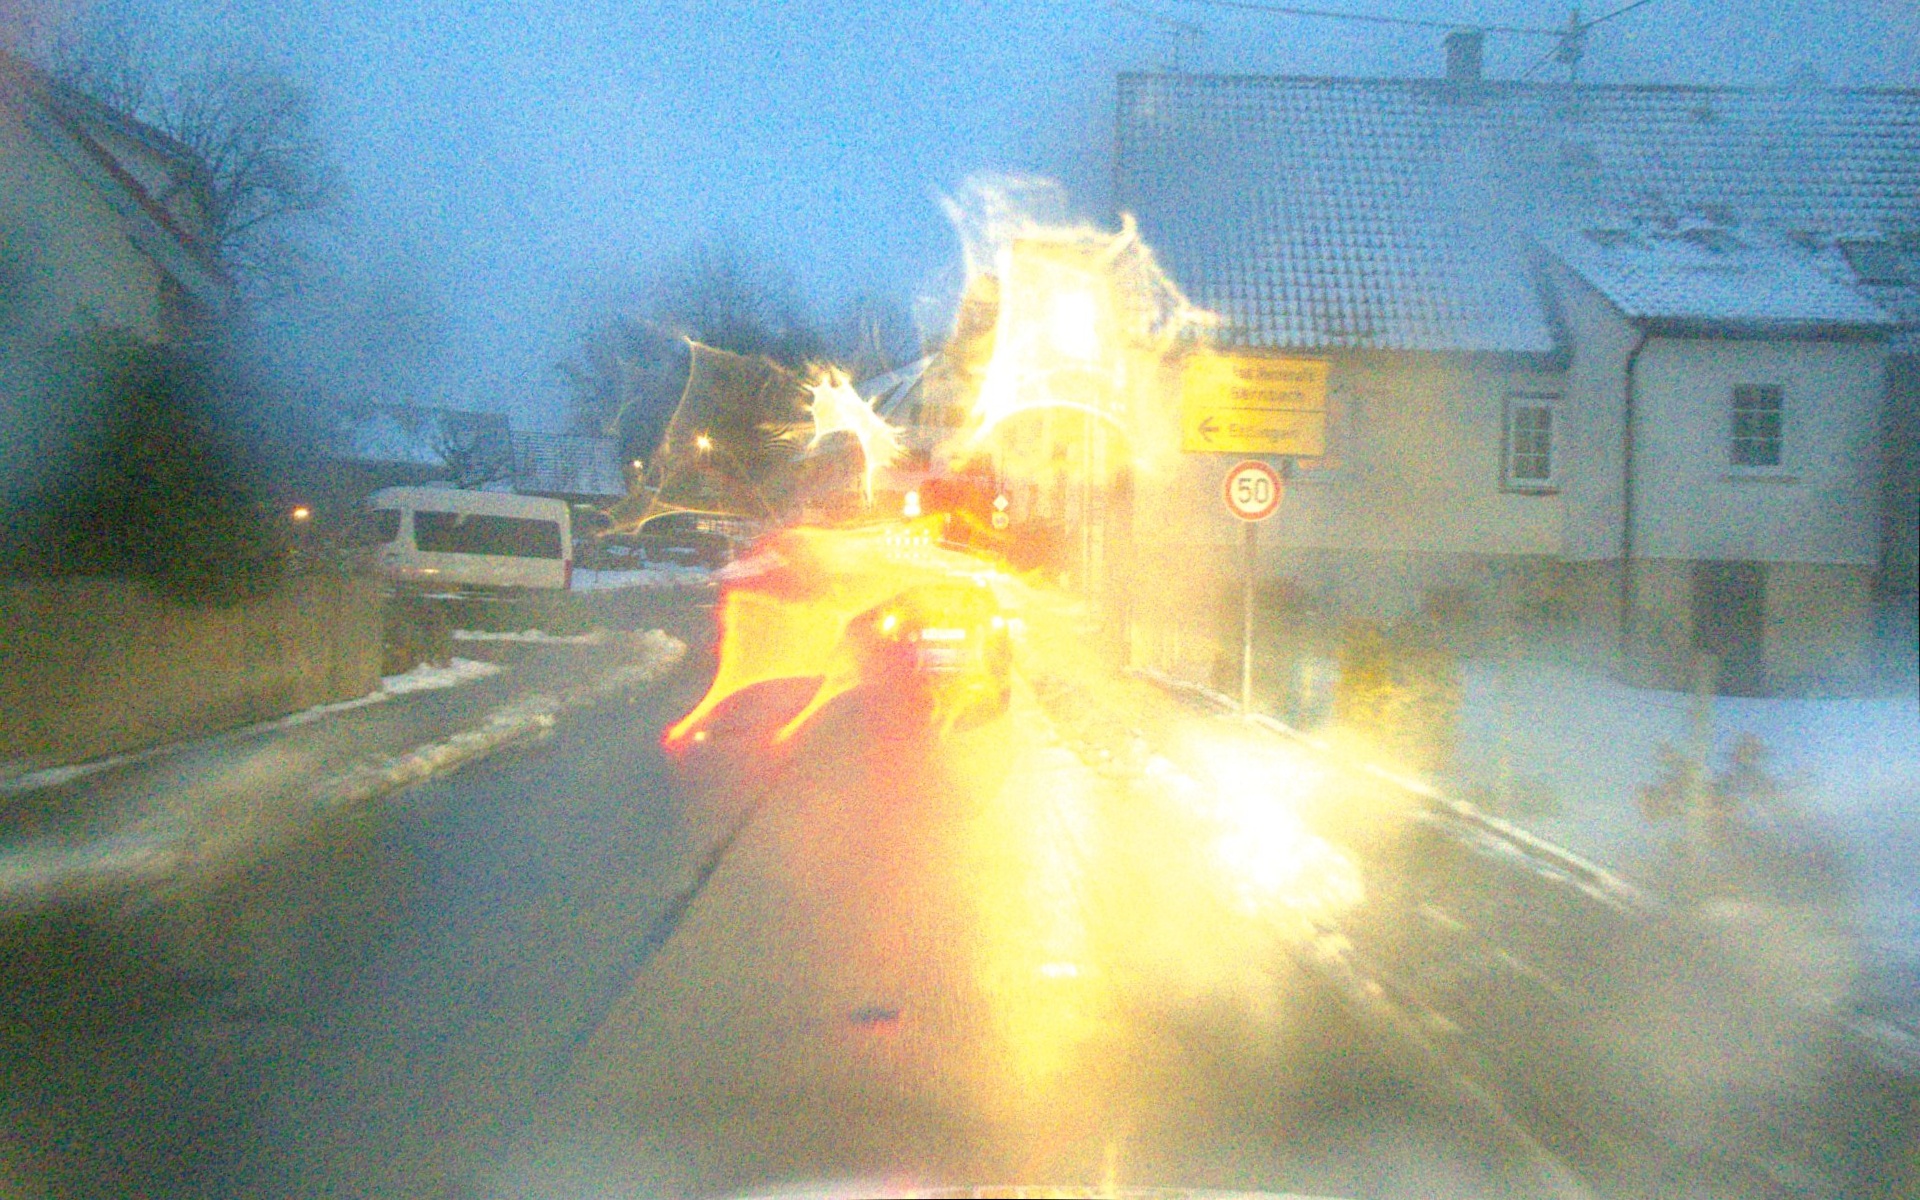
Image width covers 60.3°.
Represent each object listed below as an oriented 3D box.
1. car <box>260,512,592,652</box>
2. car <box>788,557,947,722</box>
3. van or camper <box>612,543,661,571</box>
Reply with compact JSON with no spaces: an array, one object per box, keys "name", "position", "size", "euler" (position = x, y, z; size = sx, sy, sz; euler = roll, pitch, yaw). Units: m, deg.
[{"name":"car","position":[-10.628,-0.295,33.174],"size":[6.038,2.598,1.978],"euler":[1,0,-33]},{"name":"car","position":[-1.199,0.407,20.758],"size":[1.786,1.828,3.575],"euler":[-1,2,-5]},{"name":"van or camper","position":[-14.040,-1.849,71.707],"size":[1.267,1.120,3.244],"euler":[1,0,-27]}]
